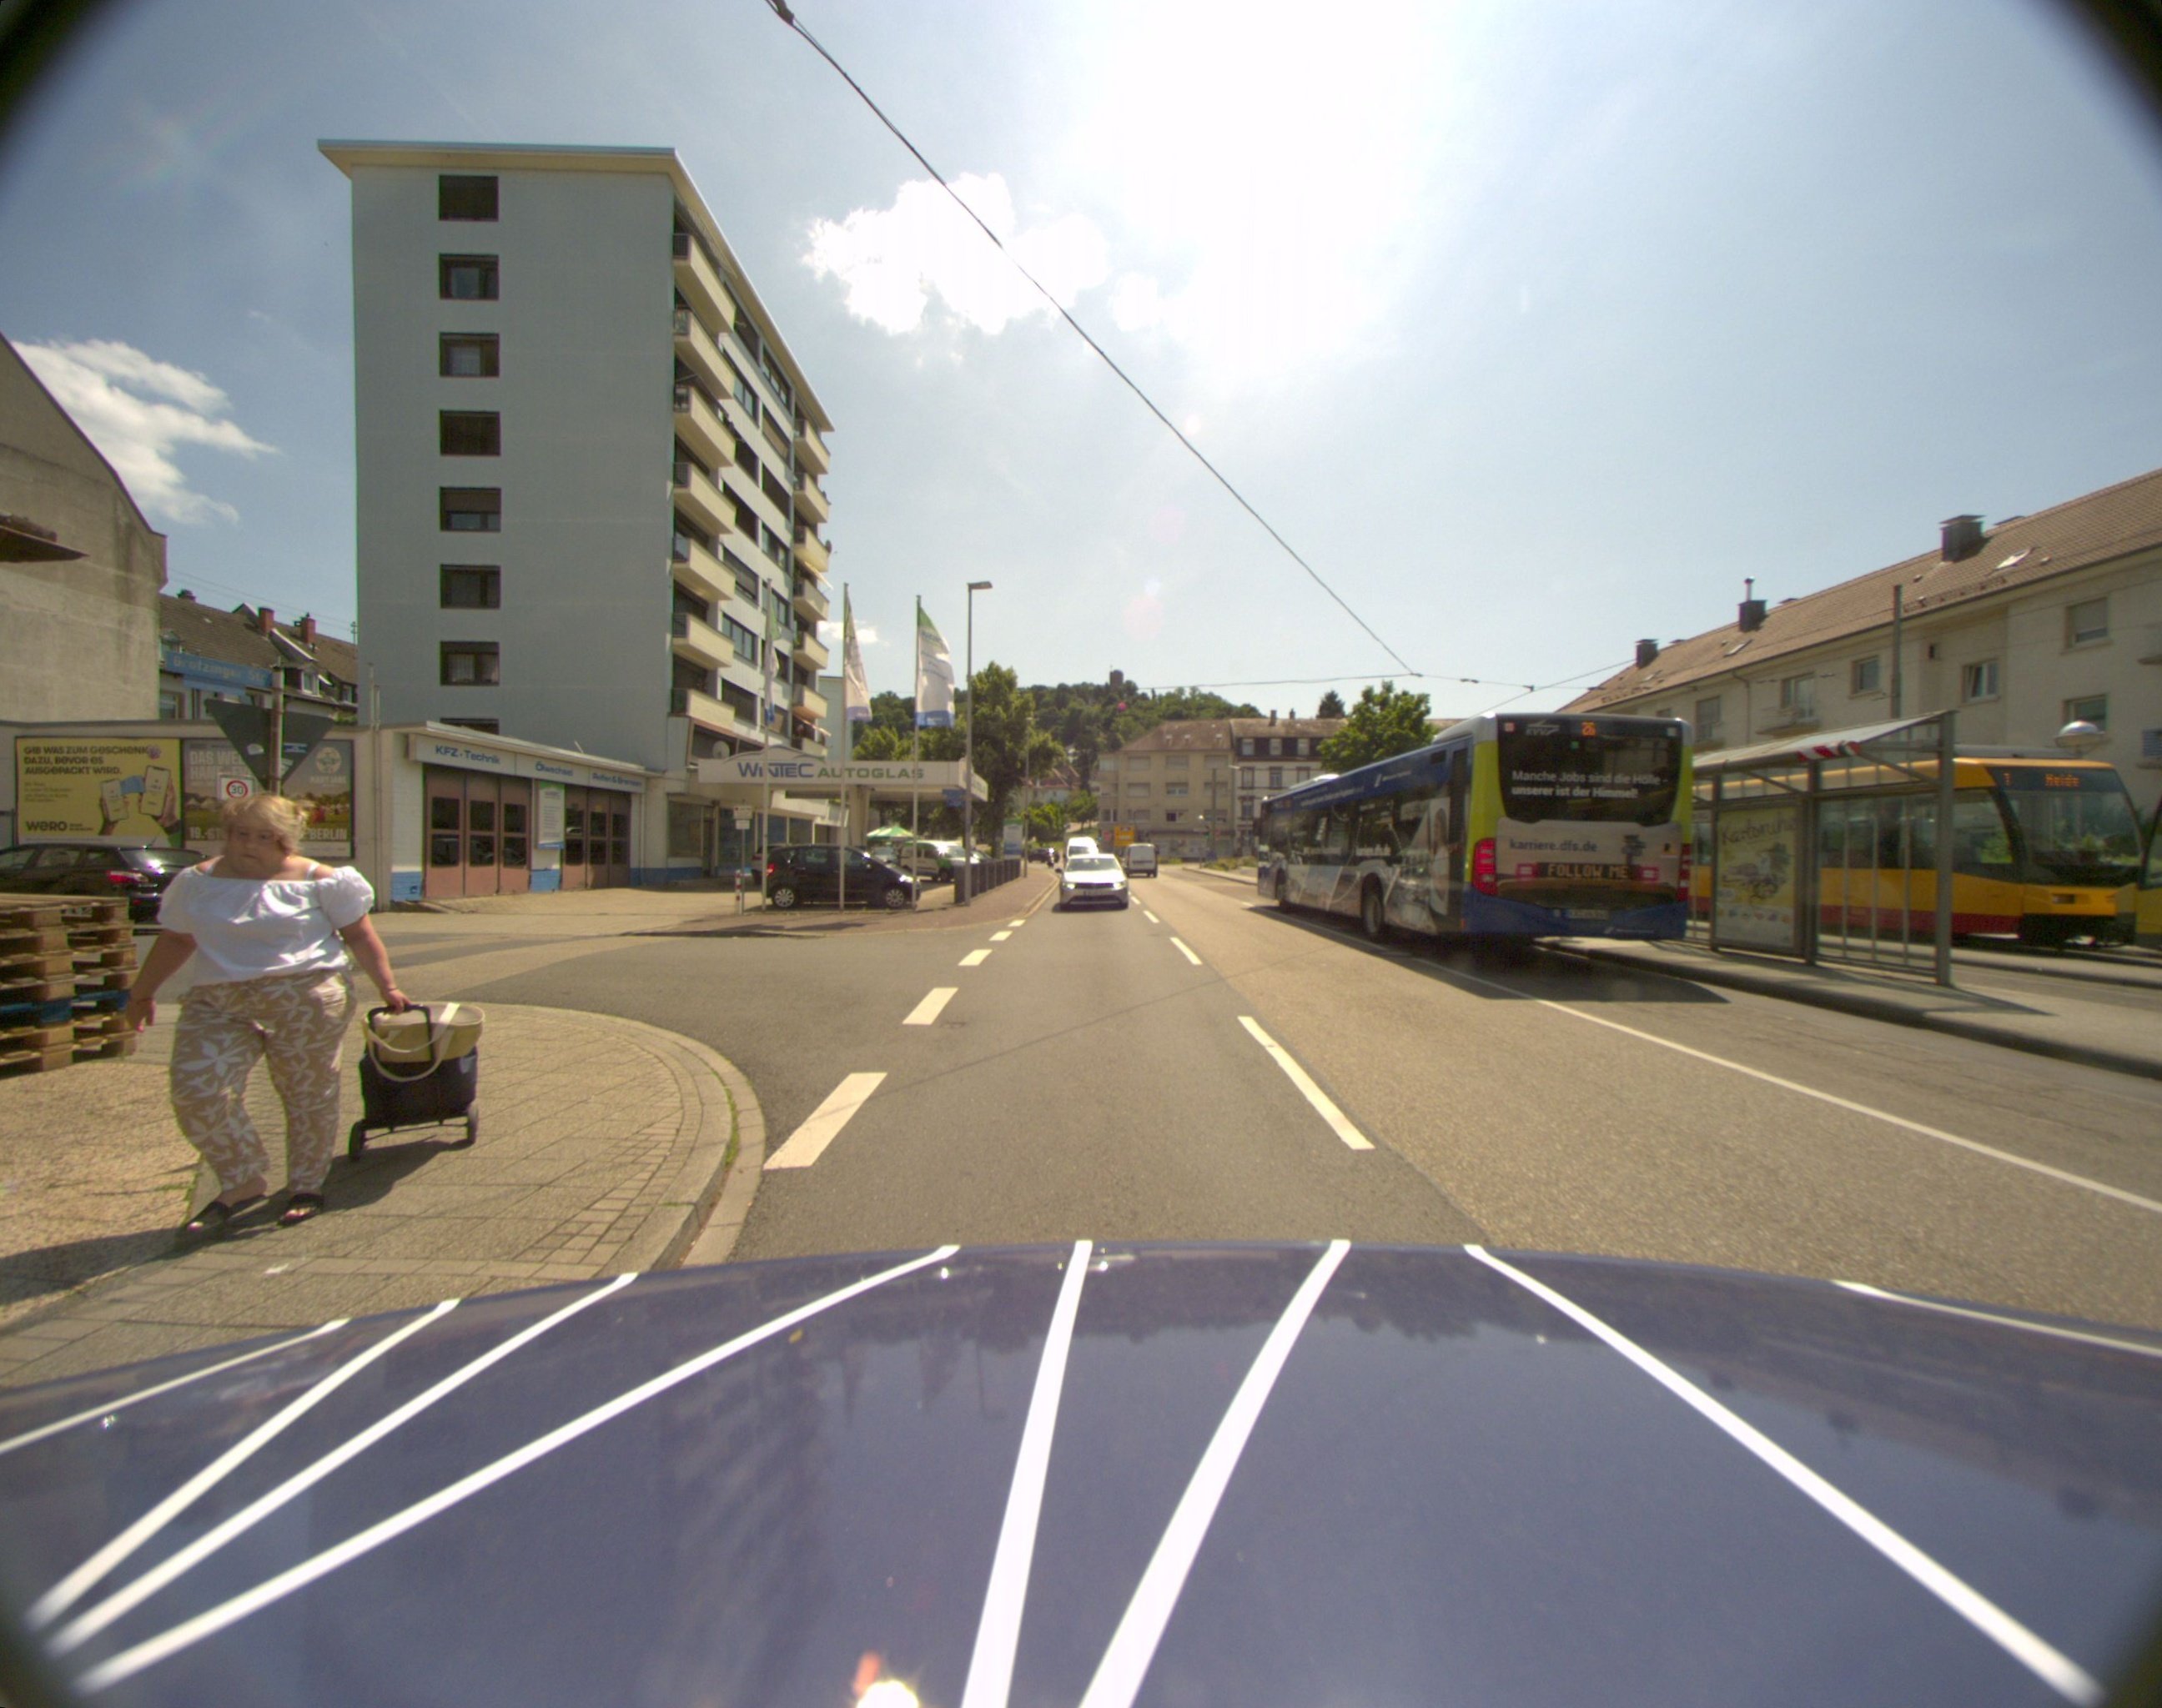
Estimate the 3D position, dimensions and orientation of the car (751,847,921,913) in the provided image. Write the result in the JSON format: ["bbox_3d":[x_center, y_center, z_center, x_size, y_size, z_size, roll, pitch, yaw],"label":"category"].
[{"bbox_3d":[-6.017,0.600,19.122,3.890,1.534,1.840,0,1,-12],"label":"car"}]

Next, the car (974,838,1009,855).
[{"bbox_3d":[-11.139,-0.967,95.537,2.398,2.002,6.377,-1,2,12],"label":"car"}]

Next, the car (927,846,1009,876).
[{"bbox_3d":[-5.921,0.339,39.846,3.962,1.421,1.703,2,1,25],"label":"car"}]

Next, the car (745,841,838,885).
[{"bbox_3d":[-11.353,0.310,30.165,1.750,1.617,4.705,0,1,2],"label":"car"}]

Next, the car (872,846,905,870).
[{"bbox_3d":[-12.122,0.196,47.663,1.715,1.392,4.276,-1,1,-18],"label":"car"}]

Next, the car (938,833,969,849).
[{"bbox_3d":[-17.366,-1.750,103.884,2.398,2.002,5.384,-1,2,12],"label":"car"}]

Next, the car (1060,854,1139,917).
[{"bbox_3d":[0.381,0.750,20.149,1.819,1.371,4.390,-1,1,-2],"label":"car"}]

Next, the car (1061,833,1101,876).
[{"bbox_3d":[-0.084,-0.029,43.711,1.999,2.259,5.442,-2,2,-2],"label":"car"}]

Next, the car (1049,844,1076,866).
[{"bbox_3d":[-1.447,0.018,61.431,1.998,1.609,3.999,-2,2,1],"label":"car"}]

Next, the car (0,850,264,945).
[{"bbox_3d":[-17.327,0.712,13.420,3.885,1.534,1.842,0,1,3],"label":"car"}]

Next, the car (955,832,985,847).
[{"bbox_3d":[-16.083,-2.134,110.424,2.398,2.002,5.384,-1,2,12],"label":"car"}]

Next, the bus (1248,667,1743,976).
[{"bbox_3d":[6.024,-0.349,14.619,2.915,3.407,12.040,-2,0,0],"label":"bus"}]

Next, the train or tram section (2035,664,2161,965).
[{"bbox_3d":[14.403,-0.414,1.685,2.971,3.622,17.349,-2,1,1],"label":"train or tram section"}]

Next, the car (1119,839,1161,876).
[{"bbox_3d":[3.197,0.125,41.910,1.708,1.840,4.710,-2,2,-2],"label":"car"}]

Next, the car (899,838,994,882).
[{"bbox_3d":[-6.046,0.251,33.947,4.277,1.780,1.826,0,2,40],"label":"car"}]

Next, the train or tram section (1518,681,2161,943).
[{"bbox_3d":[14.595,-0.659,16.546,2.971,3.475,12.655,-2,1,1],"label":"train or tram section"}]

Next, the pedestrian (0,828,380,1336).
[{"bbox_3d":[-3.264,0.743,2.807,0.707,1.631,0.659,1,-1,-9],"label":"pedestrian"}]
